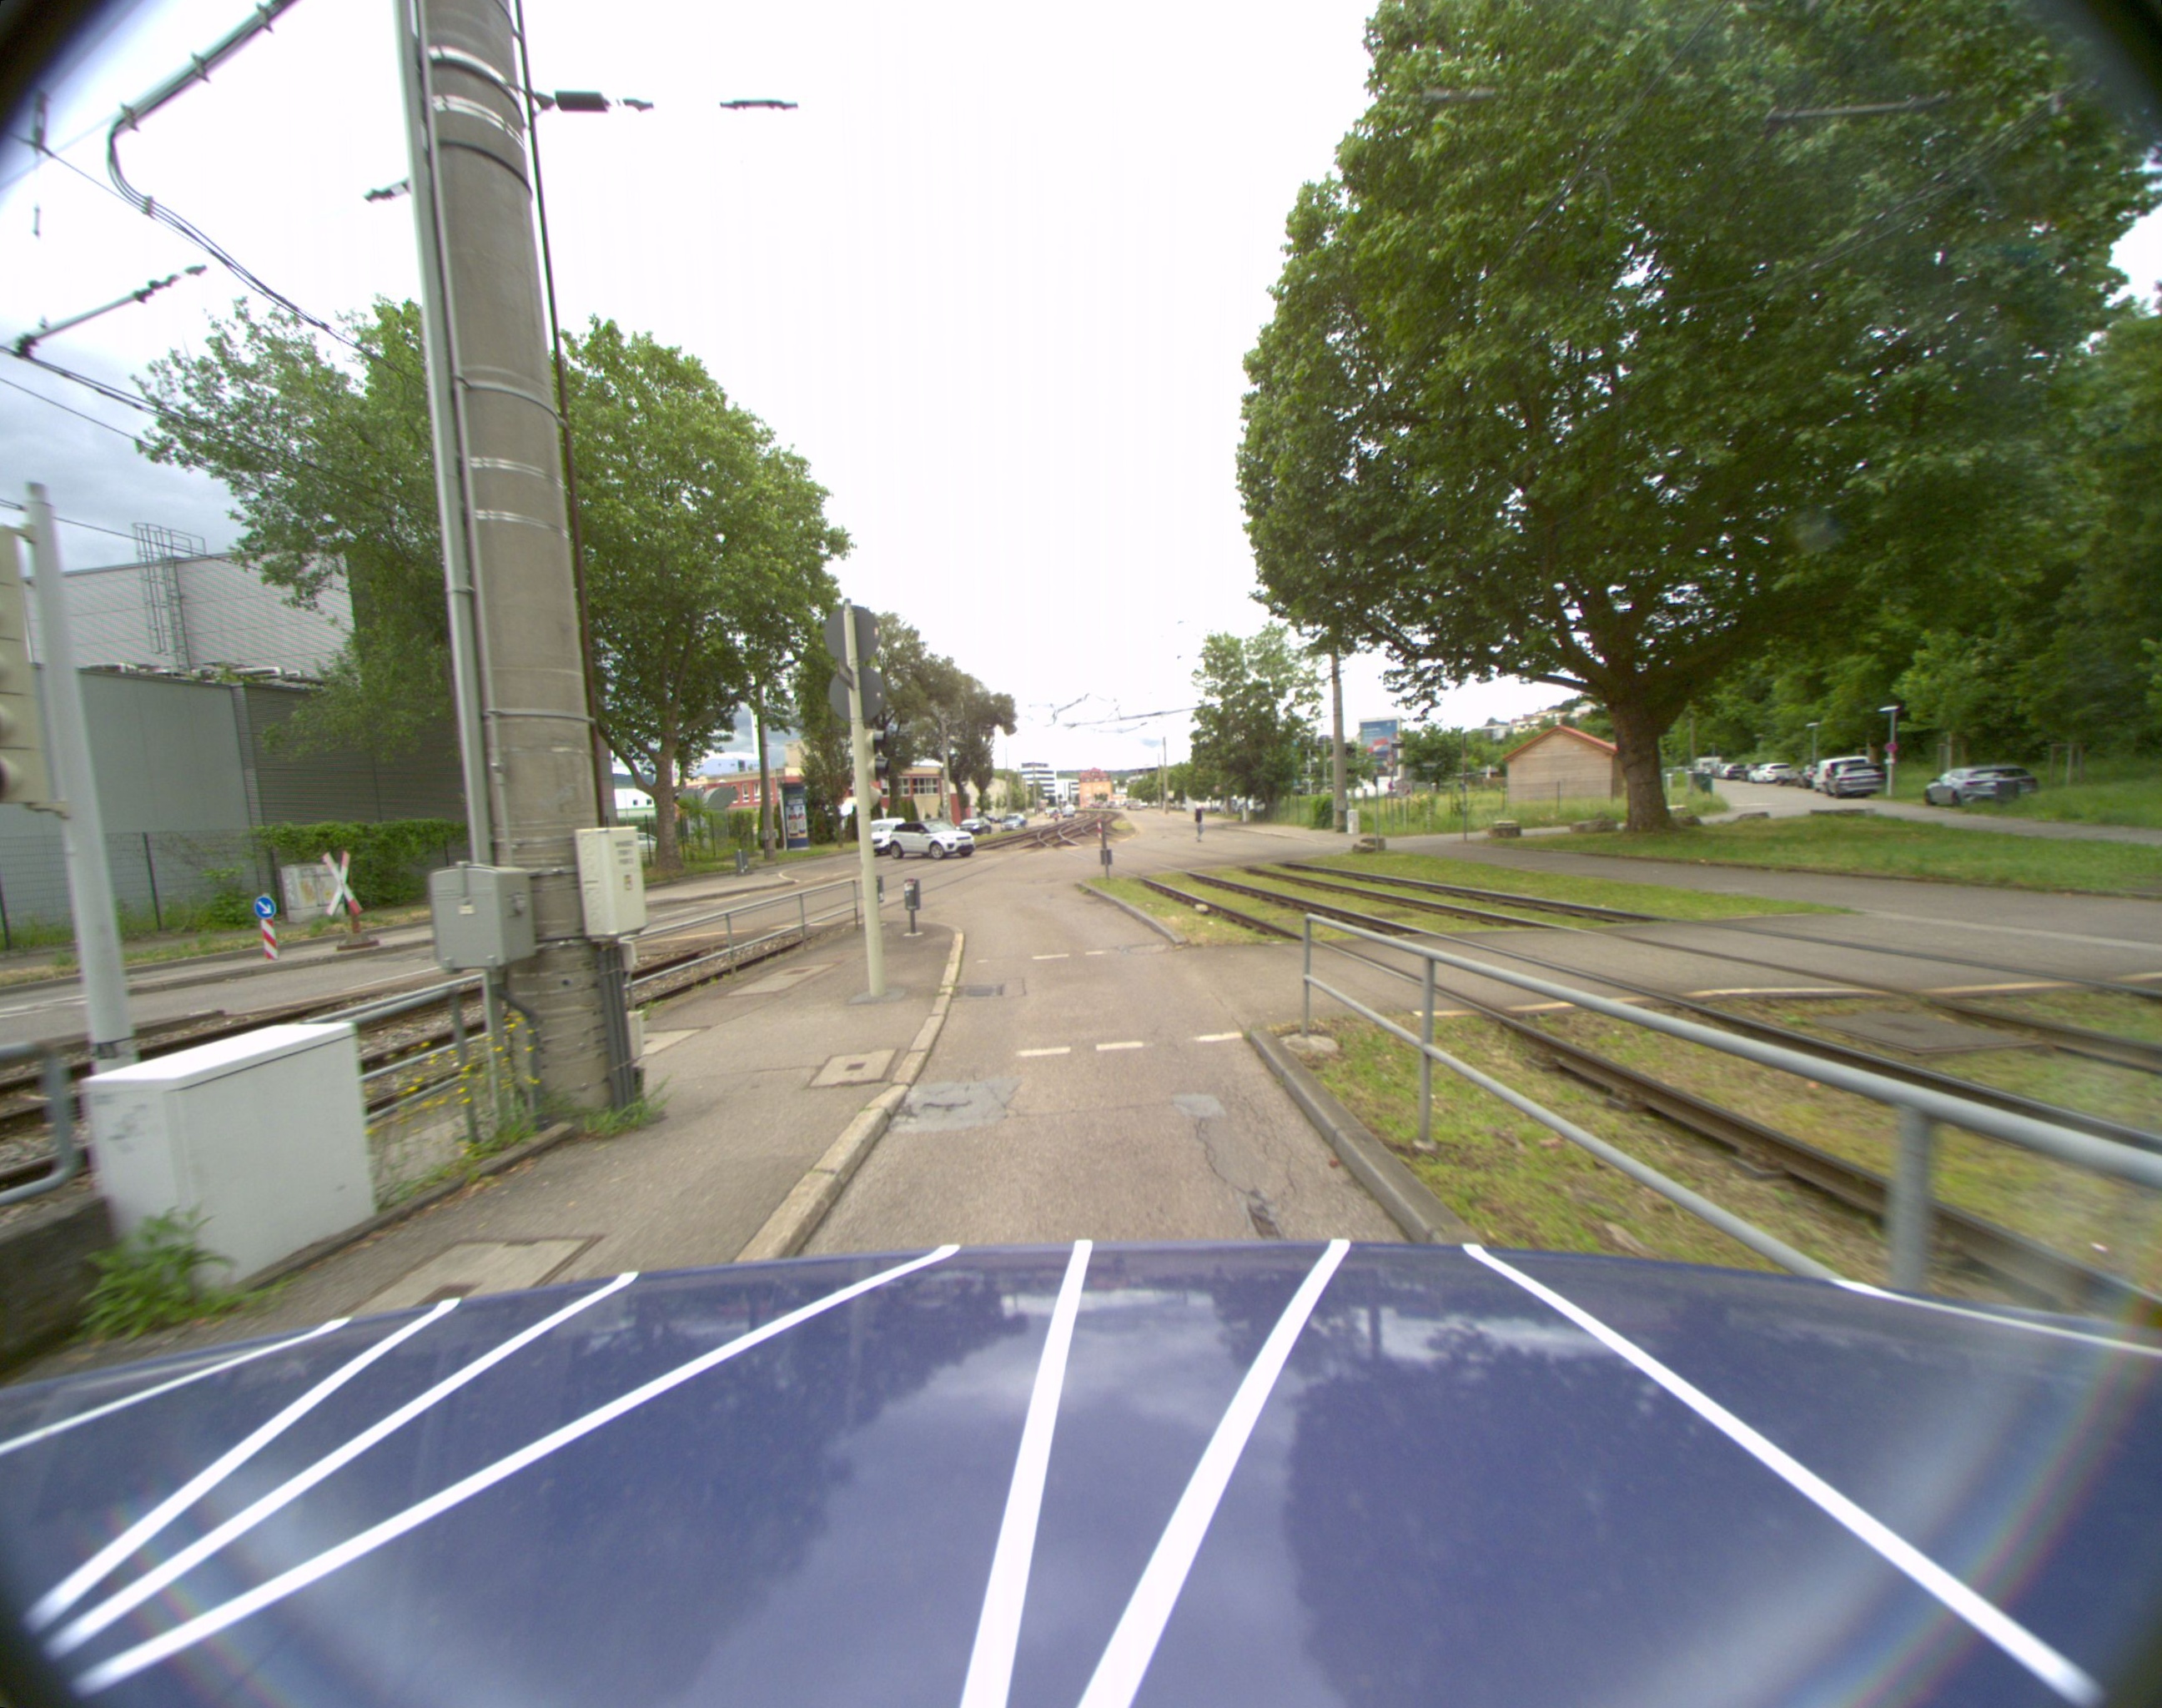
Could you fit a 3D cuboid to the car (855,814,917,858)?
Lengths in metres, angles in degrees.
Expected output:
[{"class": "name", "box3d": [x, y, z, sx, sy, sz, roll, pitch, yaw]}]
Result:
[{"class": "car", "box3d": [-10.037, -0.995, 39.574, 1.999, 1.992, 5.030, -4, 4, -2]}]

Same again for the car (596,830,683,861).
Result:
[{"class": "car", "box3d": [-29.646, -0.604, 51.138, 1.994, 1.657, 4.507, 0, 5, 35]}]

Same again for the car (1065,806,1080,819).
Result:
[{"class": "car", "box3d": [-1.346, -6.315, 116.343, 1.868, 1.741, 3.998, -6, 4, 3]}]

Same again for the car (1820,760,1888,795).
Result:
[{"class": "car", "box3d": [37.720, -3.741, 37.148, 1.696, 1.417, 3.507, -3, 5, 35]}]

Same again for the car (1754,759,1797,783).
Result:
[{"class": "car", "box3d": [52.642, -6.317, 57.640, 1.753, 1.604, 3.685, -3, 5, 33]}]

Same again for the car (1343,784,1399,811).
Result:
[{"class": "car", "box3d": [33.067, -6.414, 86.579, 5.651, 2.448, 1.982, -4, 5, 27]}]

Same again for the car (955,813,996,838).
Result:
[{"class": "car", "box3d": [-7.978, -2.204, 57.961, 1.998, 1.548, 4.559, -4, 4, 6]}]

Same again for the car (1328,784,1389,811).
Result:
[{"class": "car", "box3d": [30.665, -6.237, 84.005, 5.838, 2.256, 2.055, -4, 5, 30]}]

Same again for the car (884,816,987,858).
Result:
[{"class": "car", "box3d": [-6.406, -0.768, 33.264, 4.256, 1.681, 2.003, 1, 5, 37]}]

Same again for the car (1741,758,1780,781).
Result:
[{"class": "car", "box3d": [54.965, -6.829, 61.496, 1.753, 1.604, 3.685, -3, 5, 33]}]

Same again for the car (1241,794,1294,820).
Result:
[{"class": "car", "box3d": [20.713, -5.252, 84.548, 5.266, 2.256, 1.999, -6, 4, 5]}]

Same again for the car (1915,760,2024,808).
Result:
[{"class": "car", "box3d": [31.398, -2.517, 26.955, 1.696, 1.417, 3.507, -3, 5, 35]}]

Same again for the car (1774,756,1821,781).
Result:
[{"class": "car", "box3d": [47.903, -5.729, 50.832, 1.753, 1.370, 3.685, -3, 5, 35]}]

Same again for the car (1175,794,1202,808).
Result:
[{"class": "car", "box3d": [20.484, -10.088, 145.316, 4.636, 2.197, 2.107, -6, 4, 0]}]

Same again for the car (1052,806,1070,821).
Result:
[{"class": "car", "box3d": [-2.633, -5.257, 98.714, 1.868, 1.741, 3.998, -6, 4, 3]}]

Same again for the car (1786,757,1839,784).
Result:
[{"class": "car", "box3d": [44.720, -5.132, 46.506, 1.753, 1.370, 3.685, -3, 5, 35]}]

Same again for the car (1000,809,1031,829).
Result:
[{"class": "car", "box3d": [-6.069, -3.309, 71.139, 1.998, 1.548, 4.559, -4, 4, 6]}]

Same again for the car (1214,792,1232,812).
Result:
[{"class": "car", "box3d": [22.769, -8.372, 122.070, 2.319, 2.996, 6.156, -5, 4, 8]}]

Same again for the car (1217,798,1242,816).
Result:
[{"class": "car", "box3d": [19.690, -6.293, 100.897, 2.141, 2.105, 4.772, -6, 4, 0]}]

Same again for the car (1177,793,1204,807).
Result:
[{"class": "car", "box3d": [20.521, -10.090, 142.495, 4.636, 2.197, 2.107, -6, 4, 0]}]

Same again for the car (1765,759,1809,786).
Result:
[{"class": "car", "box3d": [50.243, -5.821, 54.113, 1.753, 1.605, 3.685, -3, 5, 35]}]

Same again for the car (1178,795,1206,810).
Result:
[{"class": "car", "box3d": [20.434, -9.461, 140.089, 4.636, 2.197, 2.107, -6, 4, 0]}]

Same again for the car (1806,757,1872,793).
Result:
[{"class": "car", "box3d": [40.959, -4.304, 41.122, 1.905, 1.604, 3.685, -3, 5, 35]}]

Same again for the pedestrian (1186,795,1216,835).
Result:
[{"class": "pedestrian", "box3d": [5.689, -1.850, 35.946, 1.120, 1.751, 0.813, -6, 4, -2]}]

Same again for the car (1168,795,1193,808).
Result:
[{"class": "car", "box3d": [20.843, -10.949, 159.406, 4.636, 2.197, 2.107, -6, 4, 0]}]
